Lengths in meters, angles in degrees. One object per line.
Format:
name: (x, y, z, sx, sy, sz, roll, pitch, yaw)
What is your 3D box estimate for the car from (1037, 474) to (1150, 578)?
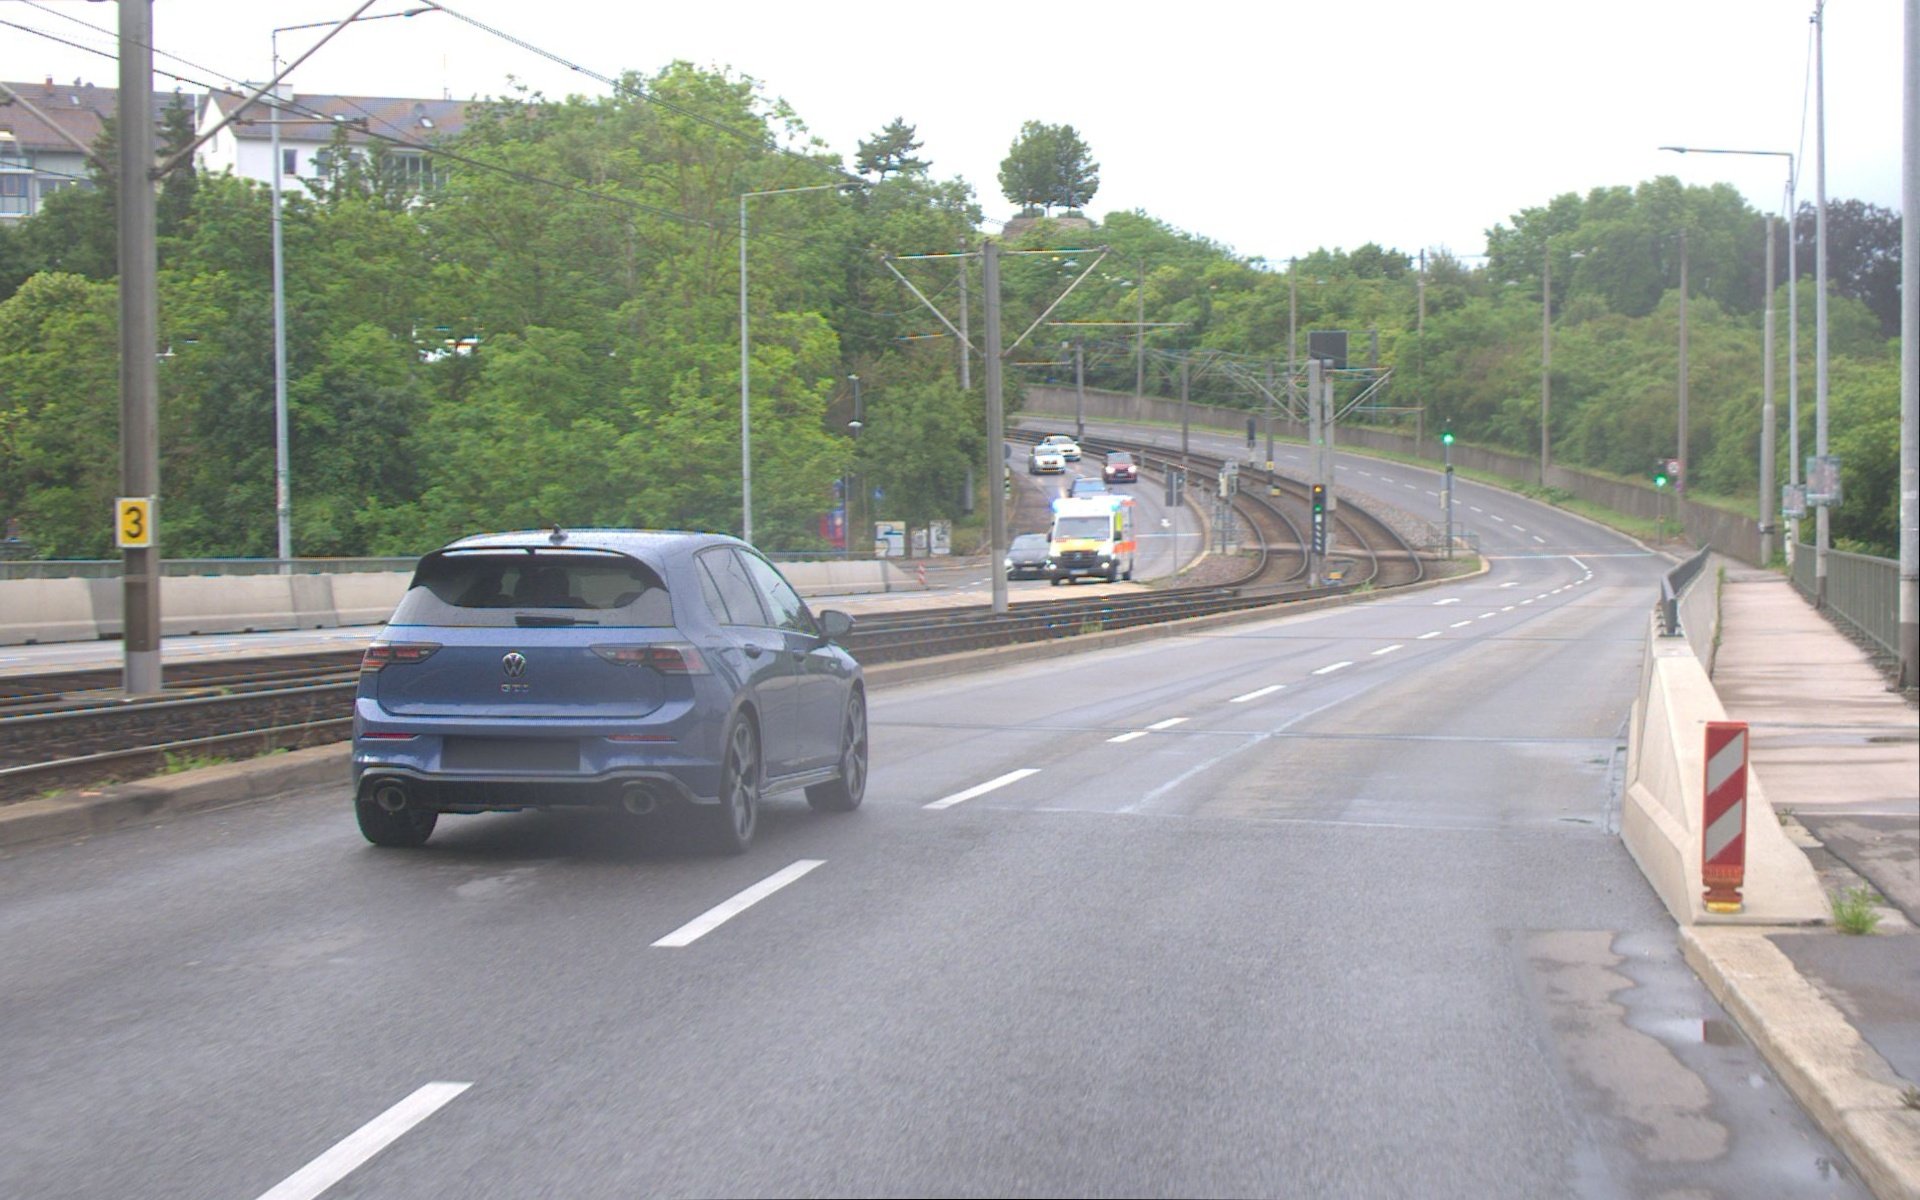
car: (4.212, -2.306, 107.066, 2.391, 3.105, 6.354, 1, 1, 12)

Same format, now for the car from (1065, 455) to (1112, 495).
car: (5.905, -5.746, 158.396, 1.969, 1.592, 5.184, -1, 0, 0)

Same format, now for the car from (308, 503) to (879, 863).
car: (-1.619, 0.310, 16.623, 1.764, 1.496, 3.999, 1, 1, 9)

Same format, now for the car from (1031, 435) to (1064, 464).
car: (4.869, -8.371, 191.554, 1.821, 1.510, 4.529, 0, 1, 1)

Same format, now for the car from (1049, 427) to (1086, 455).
car: (6.393, -9.479, 204.743, 1.729, 1.432, 4.493, -1, 0, -4)

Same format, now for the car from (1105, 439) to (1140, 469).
car: (8.552, -7.685, 180.930, 1.600, 1.488, 3.018, -2, 2, -1)

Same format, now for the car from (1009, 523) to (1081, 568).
car: (2.895, -1.857, 116.025, 1.817, 1.431, 4.739, 0, 2, 9)
